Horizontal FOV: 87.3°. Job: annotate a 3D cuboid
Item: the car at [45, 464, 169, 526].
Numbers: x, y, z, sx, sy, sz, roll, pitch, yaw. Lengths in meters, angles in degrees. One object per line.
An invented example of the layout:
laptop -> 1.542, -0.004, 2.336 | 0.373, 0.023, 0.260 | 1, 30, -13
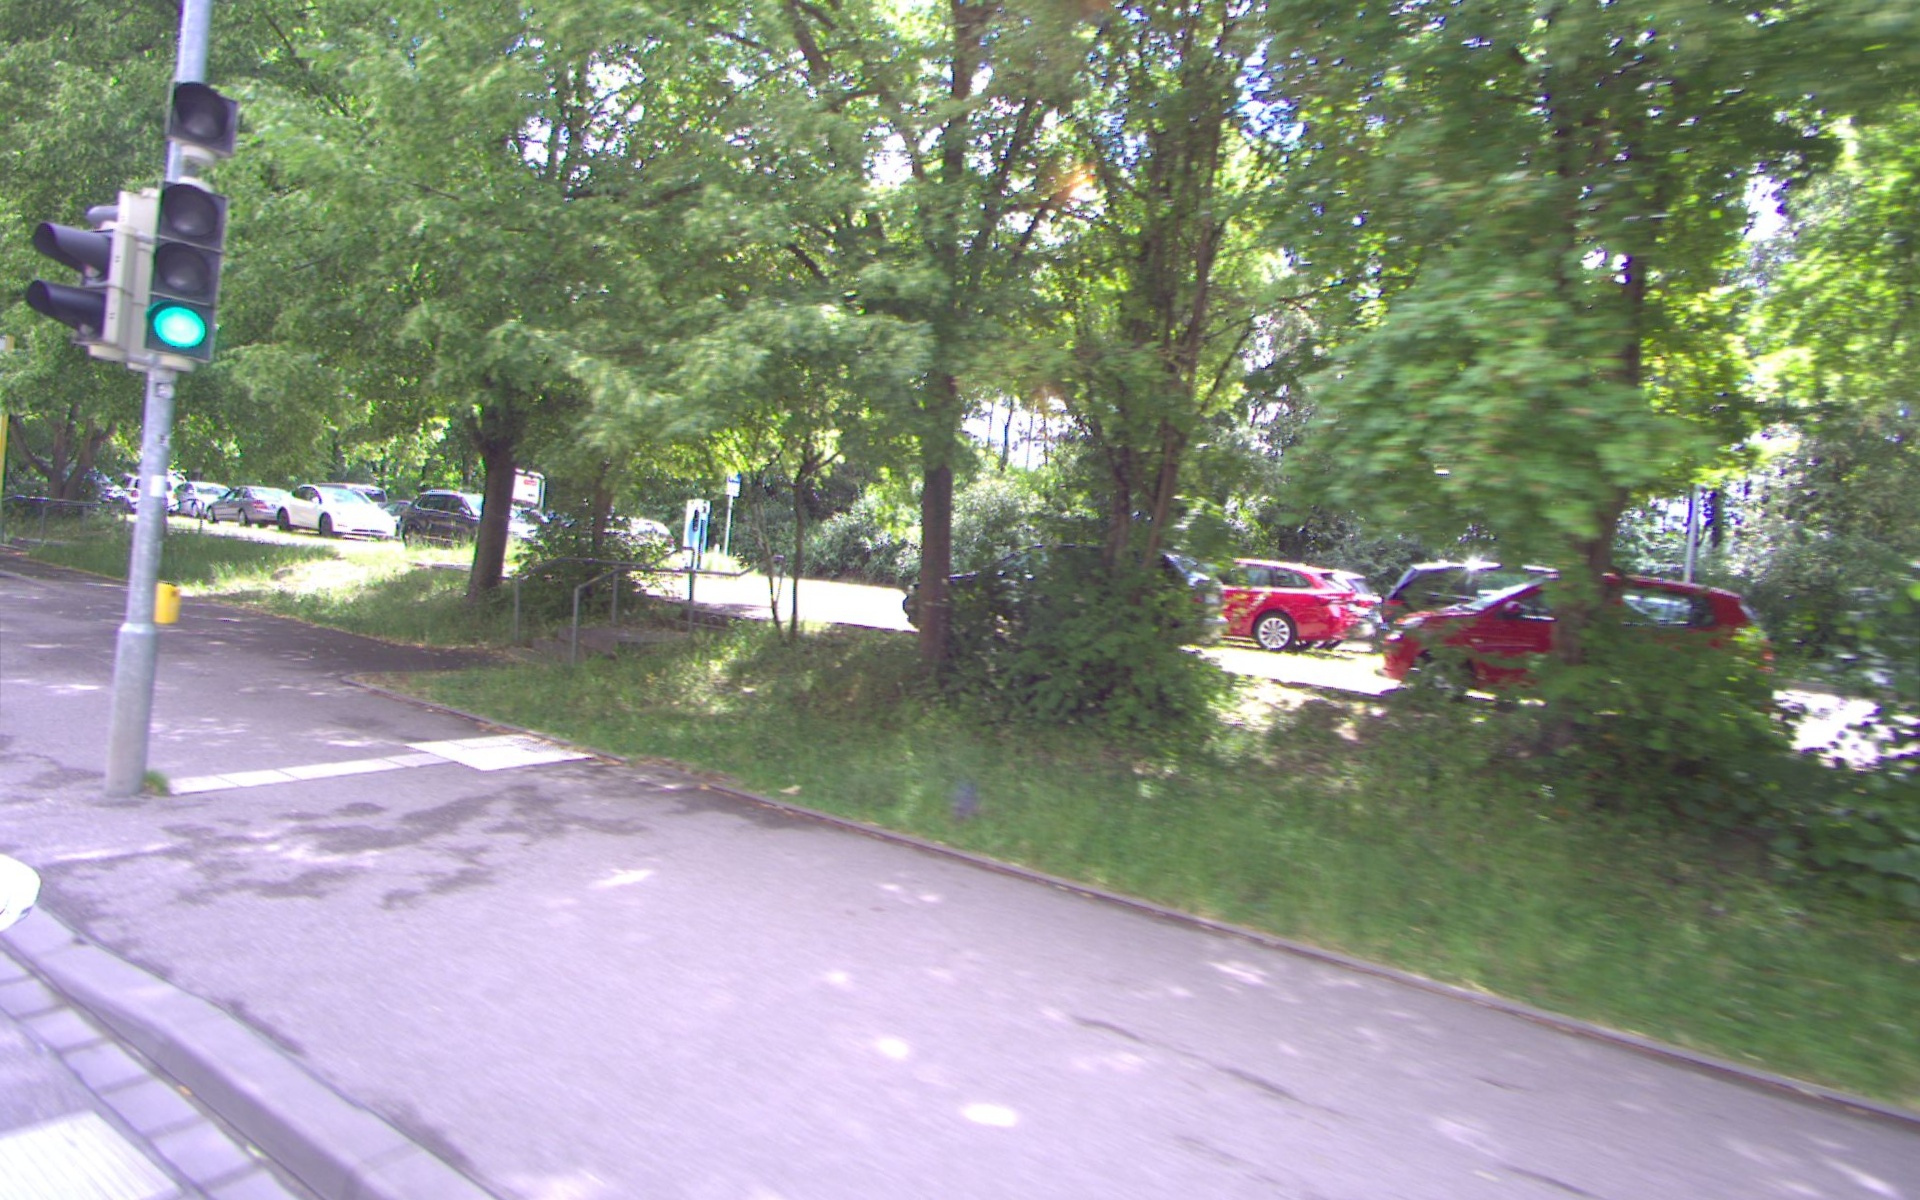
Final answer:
car -> -29.612, -3.656, 34.887 | 4.646, 1.682, 1.849 | 7, 0, 32

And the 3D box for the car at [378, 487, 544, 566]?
car -> -12.437, -1.837, 25.004 | 4.191, 1.717, 1.687 | 5, 3, 31

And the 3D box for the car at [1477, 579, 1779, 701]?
car -> 10.713, 0.586, 16.484 | 3.794, 1.462, 1.755 | 7, 3, 29

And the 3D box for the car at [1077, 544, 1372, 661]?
car -> 4.458, -0.004, 17.238 | 4.469, 1.498, 1.752 | 7, 3, 32

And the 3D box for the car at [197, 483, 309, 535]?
car -> -24.533, -3.160, 34.855 | 4.281, 1.462, 1.612 | 7, 3, 32

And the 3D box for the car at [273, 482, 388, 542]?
car -> -20.170, -2.834, 32.179 | 4.360, 1.577, 1.468 | 7, 4, 34

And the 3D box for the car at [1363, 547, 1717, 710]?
car -> 7.376, 0.292, 13.060 | 3.602, 1.603, 1.752 | 7, 3, 32

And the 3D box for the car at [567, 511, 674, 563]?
car -> -9.806, -1.810, 29.003 | 2.812, 1.321, 1.407 | 5, 3, 31

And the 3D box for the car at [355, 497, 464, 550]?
car -> -19.219, -2.689, 35.073 | 3.936, 1.472, 1.682 | 7, 1, 34

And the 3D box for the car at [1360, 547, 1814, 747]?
car -> 6.296, 0.382, 10.481 | 3.602, 1.521, 1.661 | 7, 3, 32

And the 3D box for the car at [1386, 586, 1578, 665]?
car -> 11.679, 0.539, 22.591 | 3.602, 1.346, 1.631 | 7, 3, 32

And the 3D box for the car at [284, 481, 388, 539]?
car -> -23.406, -3.372, 37.675 | 4.138, 1.815, 1.612 | 7, 4, 32

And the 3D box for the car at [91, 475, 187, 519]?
car -> -33.808, -4.261, 41.409 | 4.056, 1.439, 1.841 | 6, 2, 32

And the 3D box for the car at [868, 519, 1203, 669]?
car -> 0.936, -0.151, 13.424 | 4.070, 1.535, 1.626 | 7, 4, 32

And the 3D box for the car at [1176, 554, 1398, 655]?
car -> 6.157, 0.050, 19.063 | 3.602, 1.498, 1.631 | 7, 3, 32
